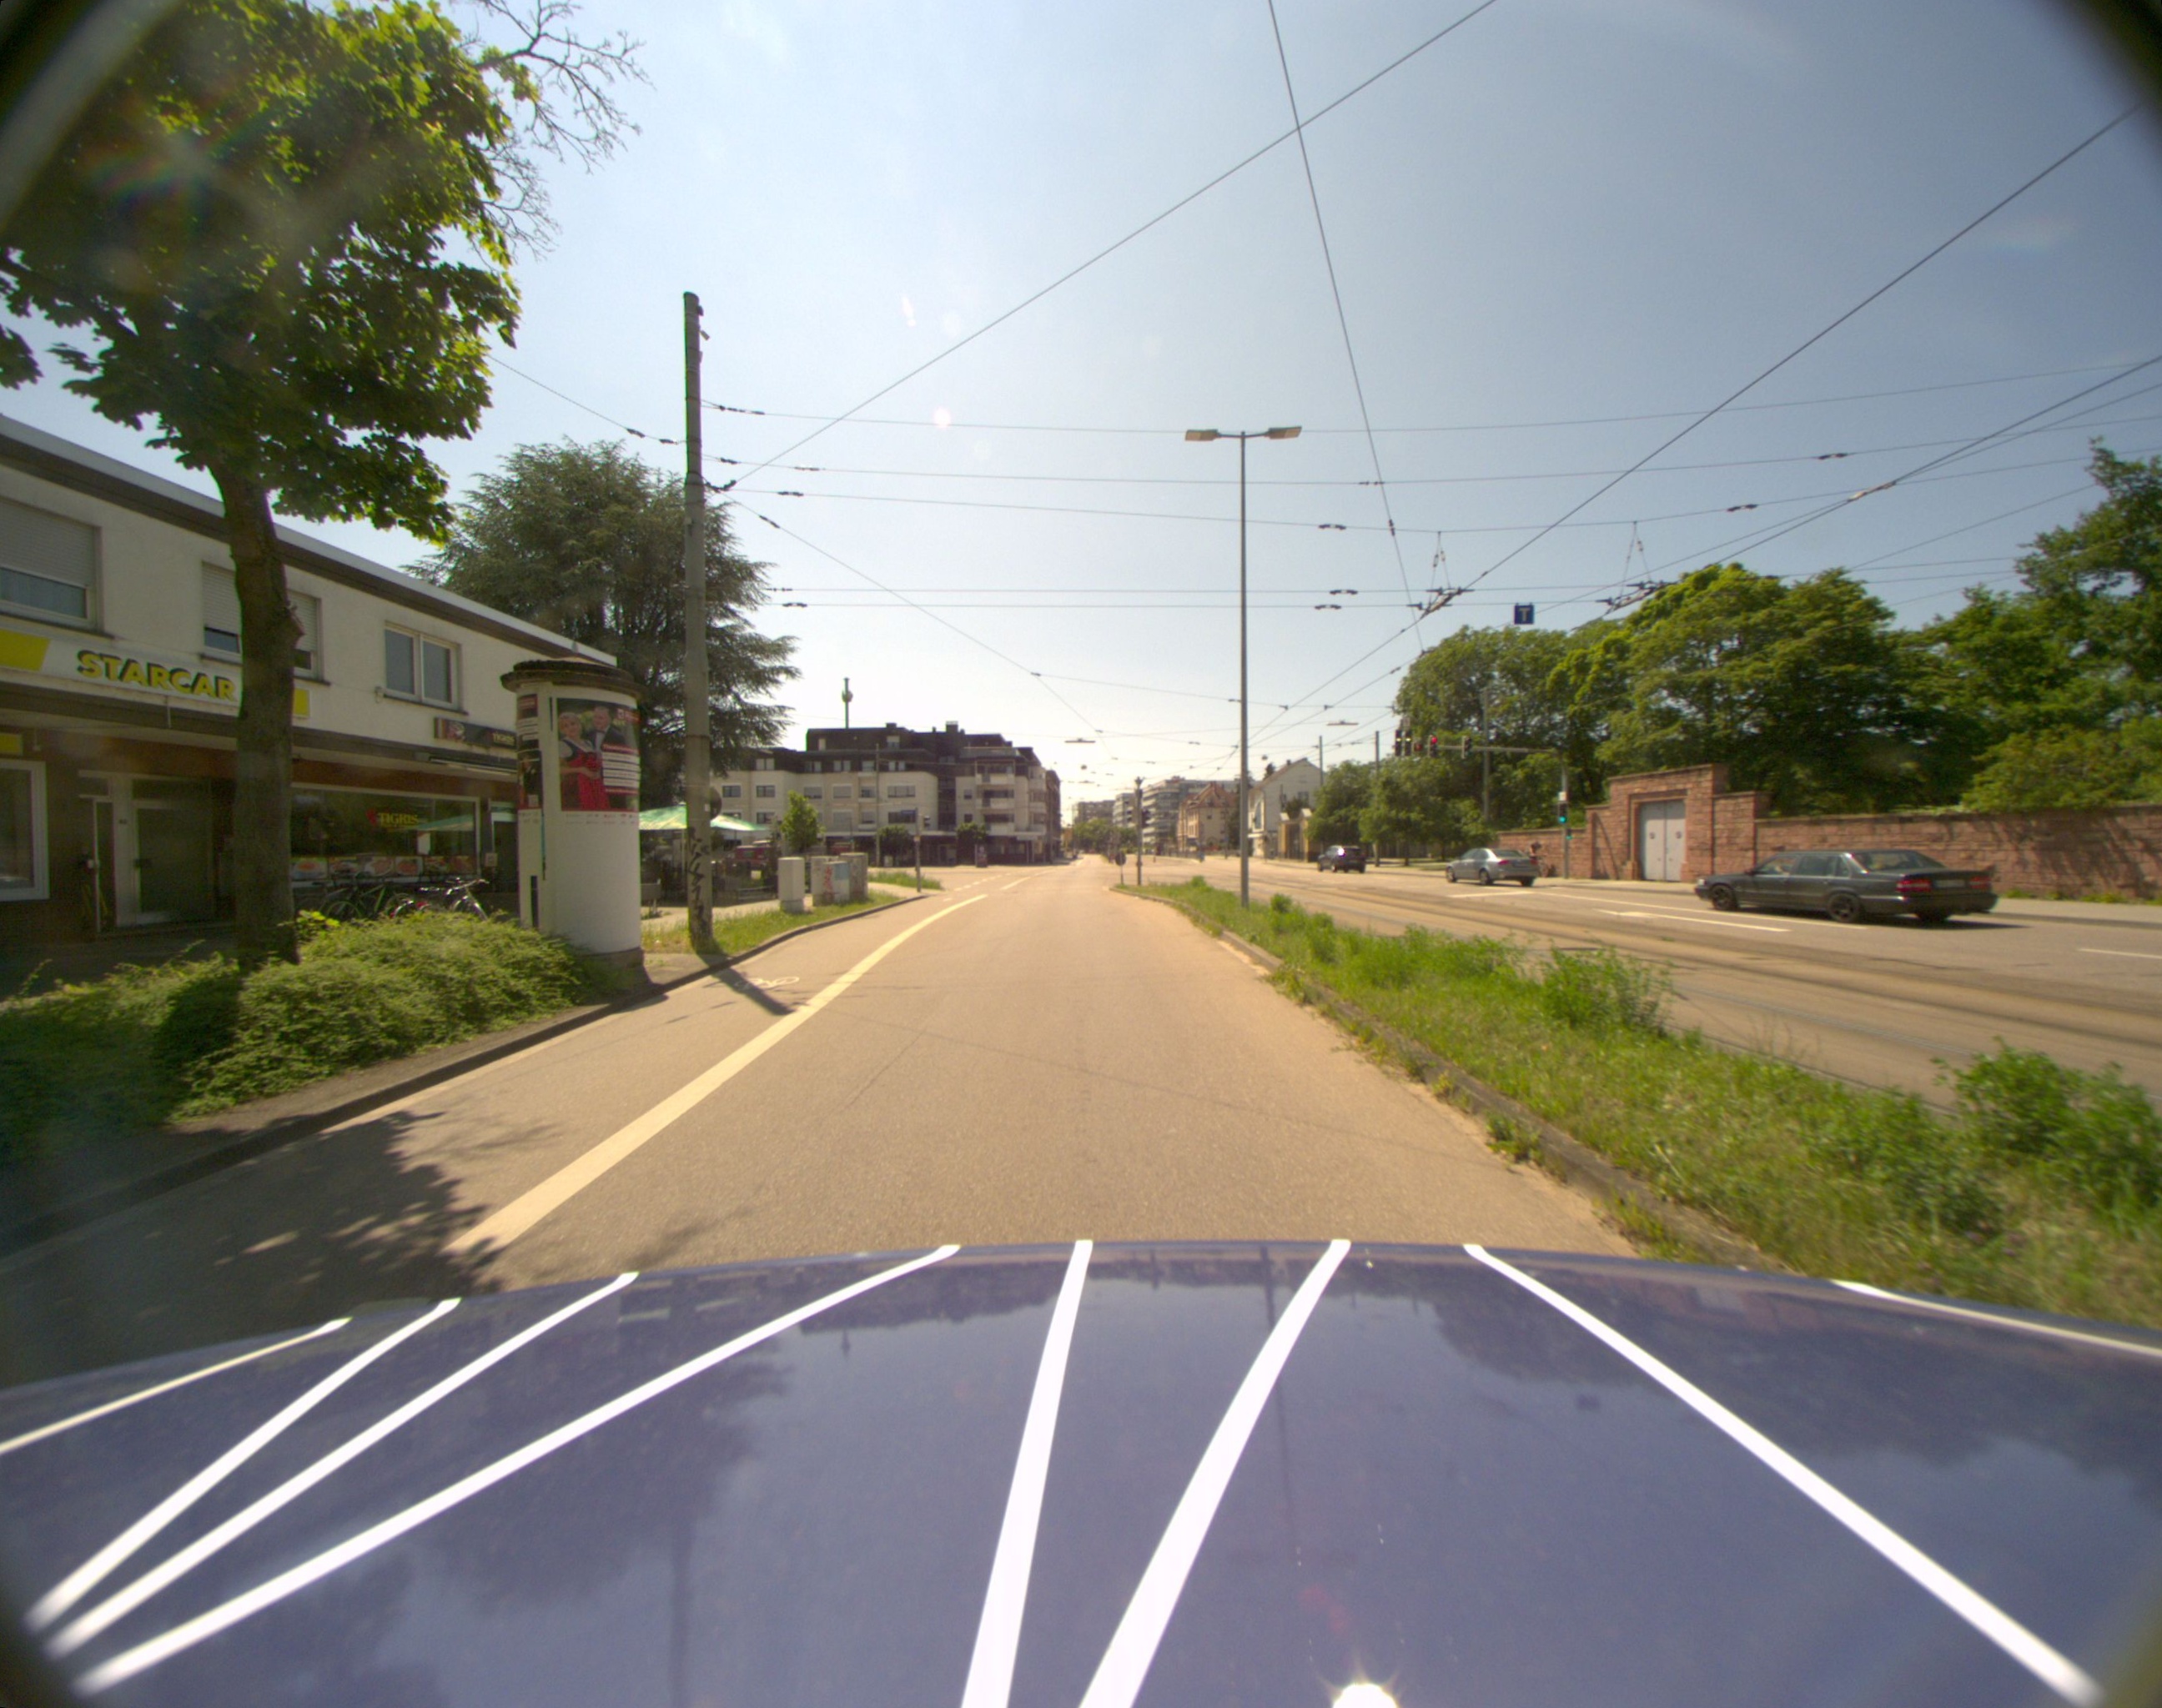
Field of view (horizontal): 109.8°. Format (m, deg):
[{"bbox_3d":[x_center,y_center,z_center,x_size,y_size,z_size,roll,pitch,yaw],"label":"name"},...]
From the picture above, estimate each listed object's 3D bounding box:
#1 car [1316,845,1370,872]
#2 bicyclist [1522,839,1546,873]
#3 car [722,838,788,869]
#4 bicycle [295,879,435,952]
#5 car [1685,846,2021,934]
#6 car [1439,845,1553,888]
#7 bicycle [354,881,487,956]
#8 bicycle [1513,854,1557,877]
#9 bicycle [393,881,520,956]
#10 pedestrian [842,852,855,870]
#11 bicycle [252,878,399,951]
[{"bbox_3d":[15.995,0.239,46.615,1.845,1.546,4.465,-1,1,1],"label":"car"},{"bbox_3d":[20.011,0.089,33.562,0.654,1.488,0.662,-2,1,0],"label":"bicyclist"},{"bbox_3d":[-30.328,-0.045,70.751,5.202,2.712,2.001,-1,1,0],"label":"car"},{"bbox_3d":[-12.164,1.002,13.012,0.544,1.062,2.021,-1,1,-3],"label":"bicycle"},{"bbox_3d":[15.355,0.605,15.669,1.845,1.408,5.033,-4,0,1],"label":"car"},{"bbox_3d":[15.809,0.437,29.292,1.845,1.408,4.710,-4,0,1],"label":"car"},{"bbox_3d":[-11.085,1.043,12.861,0.544,1.062,2.021,-1,1,-3],"label":"bicycle"},{"bbox_3d":[20.023,0.472,33.541,0.654,0.951,2.114,-2,1,0],"label":"bicycle"},{"bbox_3d":[-10.497,1.043,12.870,0.544,1.062,2.021,-1,1,-3],"label":"bicycle"},{"bbox_3d":[-20.690,0.636,67.578,0.806,1.615,0.943,-1,1,7],"label":"pedestrian"},{"bbox_3d":[-12.766,0.980,12.943,0.544,1.062,2.021,-1,1,-3],"label":"bicycle"}]
